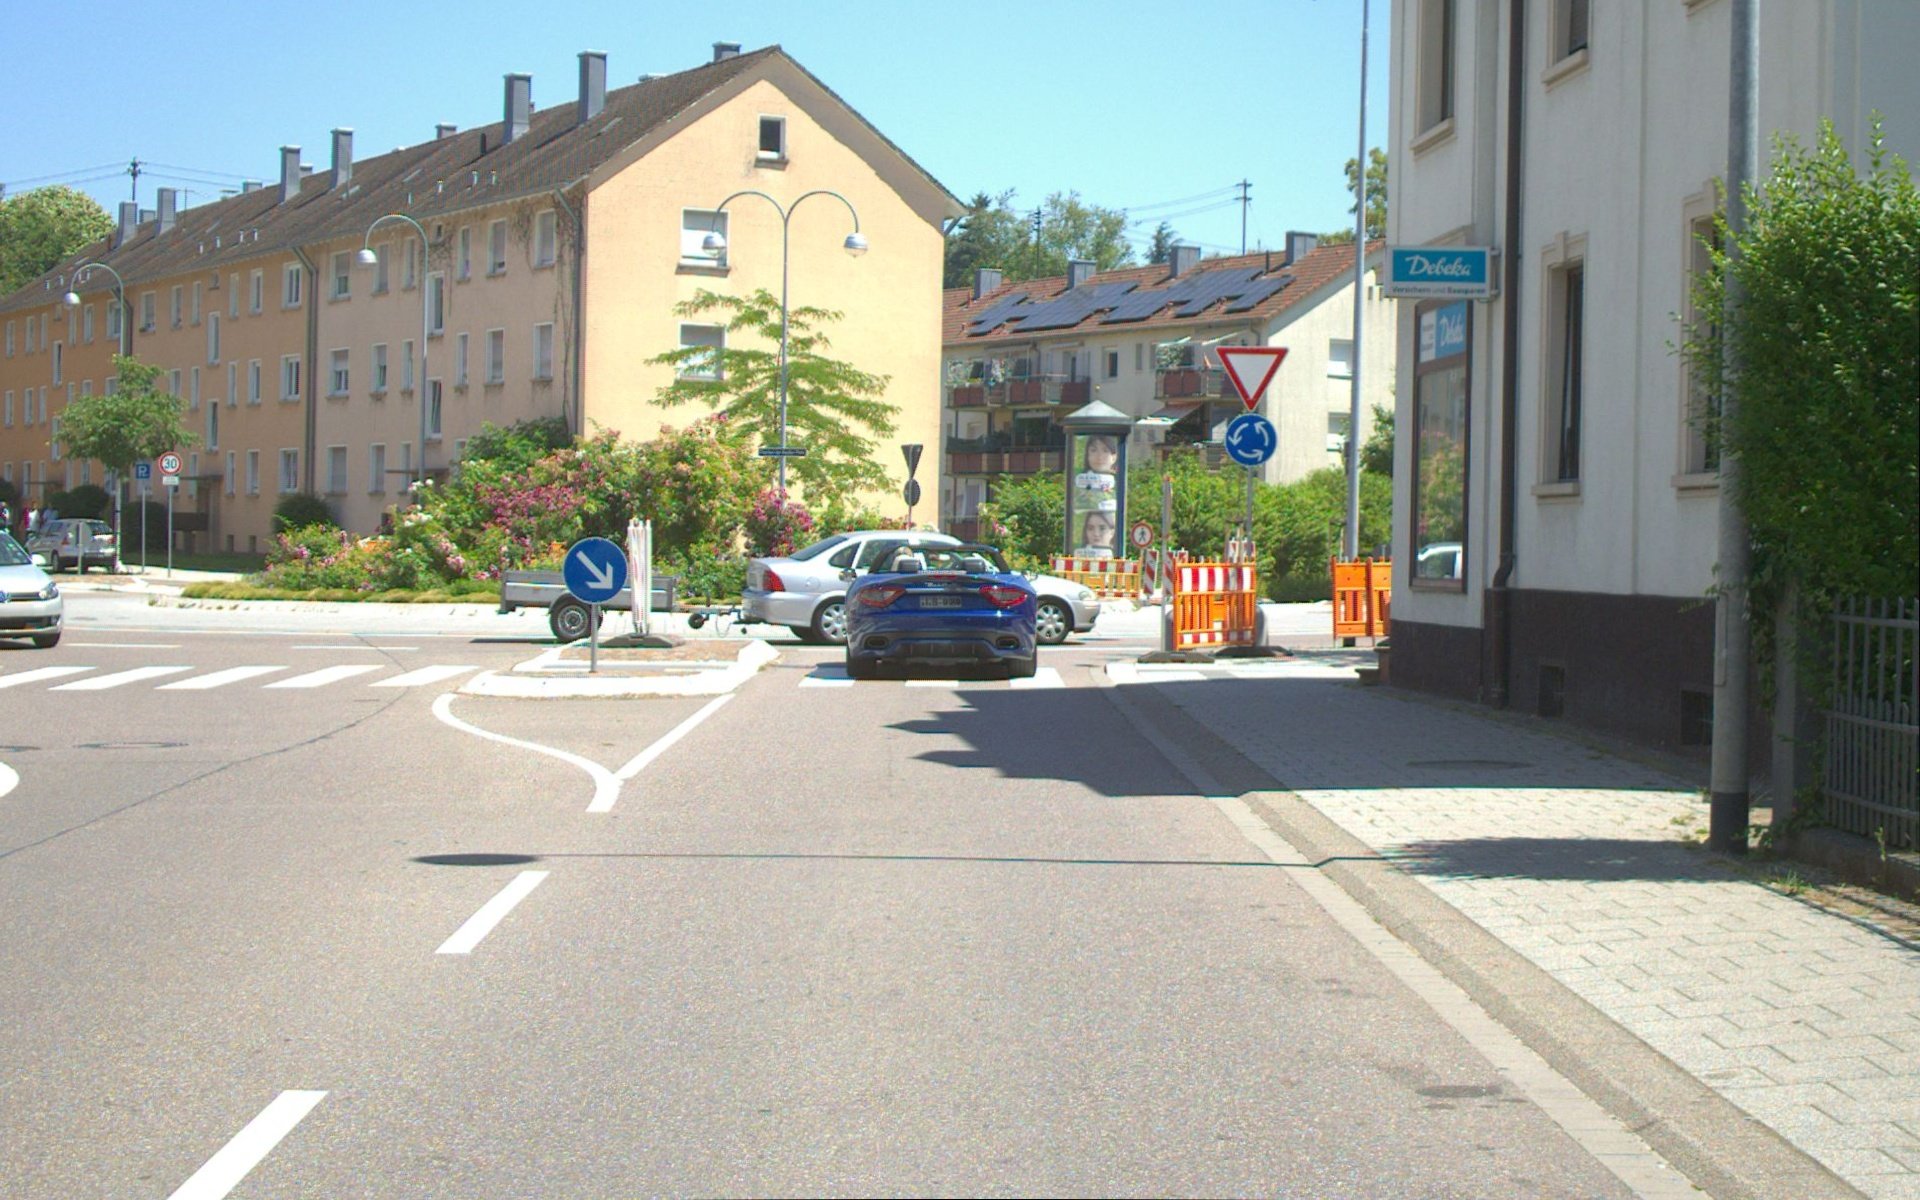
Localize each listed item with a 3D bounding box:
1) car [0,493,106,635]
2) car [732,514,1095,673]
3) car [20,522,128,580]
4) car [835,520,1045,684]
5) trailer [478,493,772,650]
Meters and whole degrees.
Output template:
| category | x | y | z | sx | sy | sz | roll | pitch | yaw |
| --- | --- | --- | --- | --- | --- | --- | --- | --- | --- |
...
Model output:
| category | x | y | z | sx | sy | sz | roll | pitch | yaw |
| --- | --- | --- | --- | --- | --- | --- | --- | --- | --- |
| car | -12.296 | -0.397 | 41.207 | 4.389 | 1.524 | 1.840 | 0 | 5 | 44 |
| car | -0.595 | -0.083 | 42.714 | 4.113 | 1.741 | 1.788 | 3 | 0 | -16 |
| car | -24.559 | -1.366 | 95.206 | 1.812 | 1.495 | 4.000 | 3 | 0 | -30 |
| car | -0.270 | 0.036 | 35.244 | 1.870 | 1.525 | 4.507 | 2 | -1 | -3 |
| trailer | -4.071 | -0.341 | 41.619 | 3.186 | 1.711 | 1.757 | 3 | 0 | -17 |
